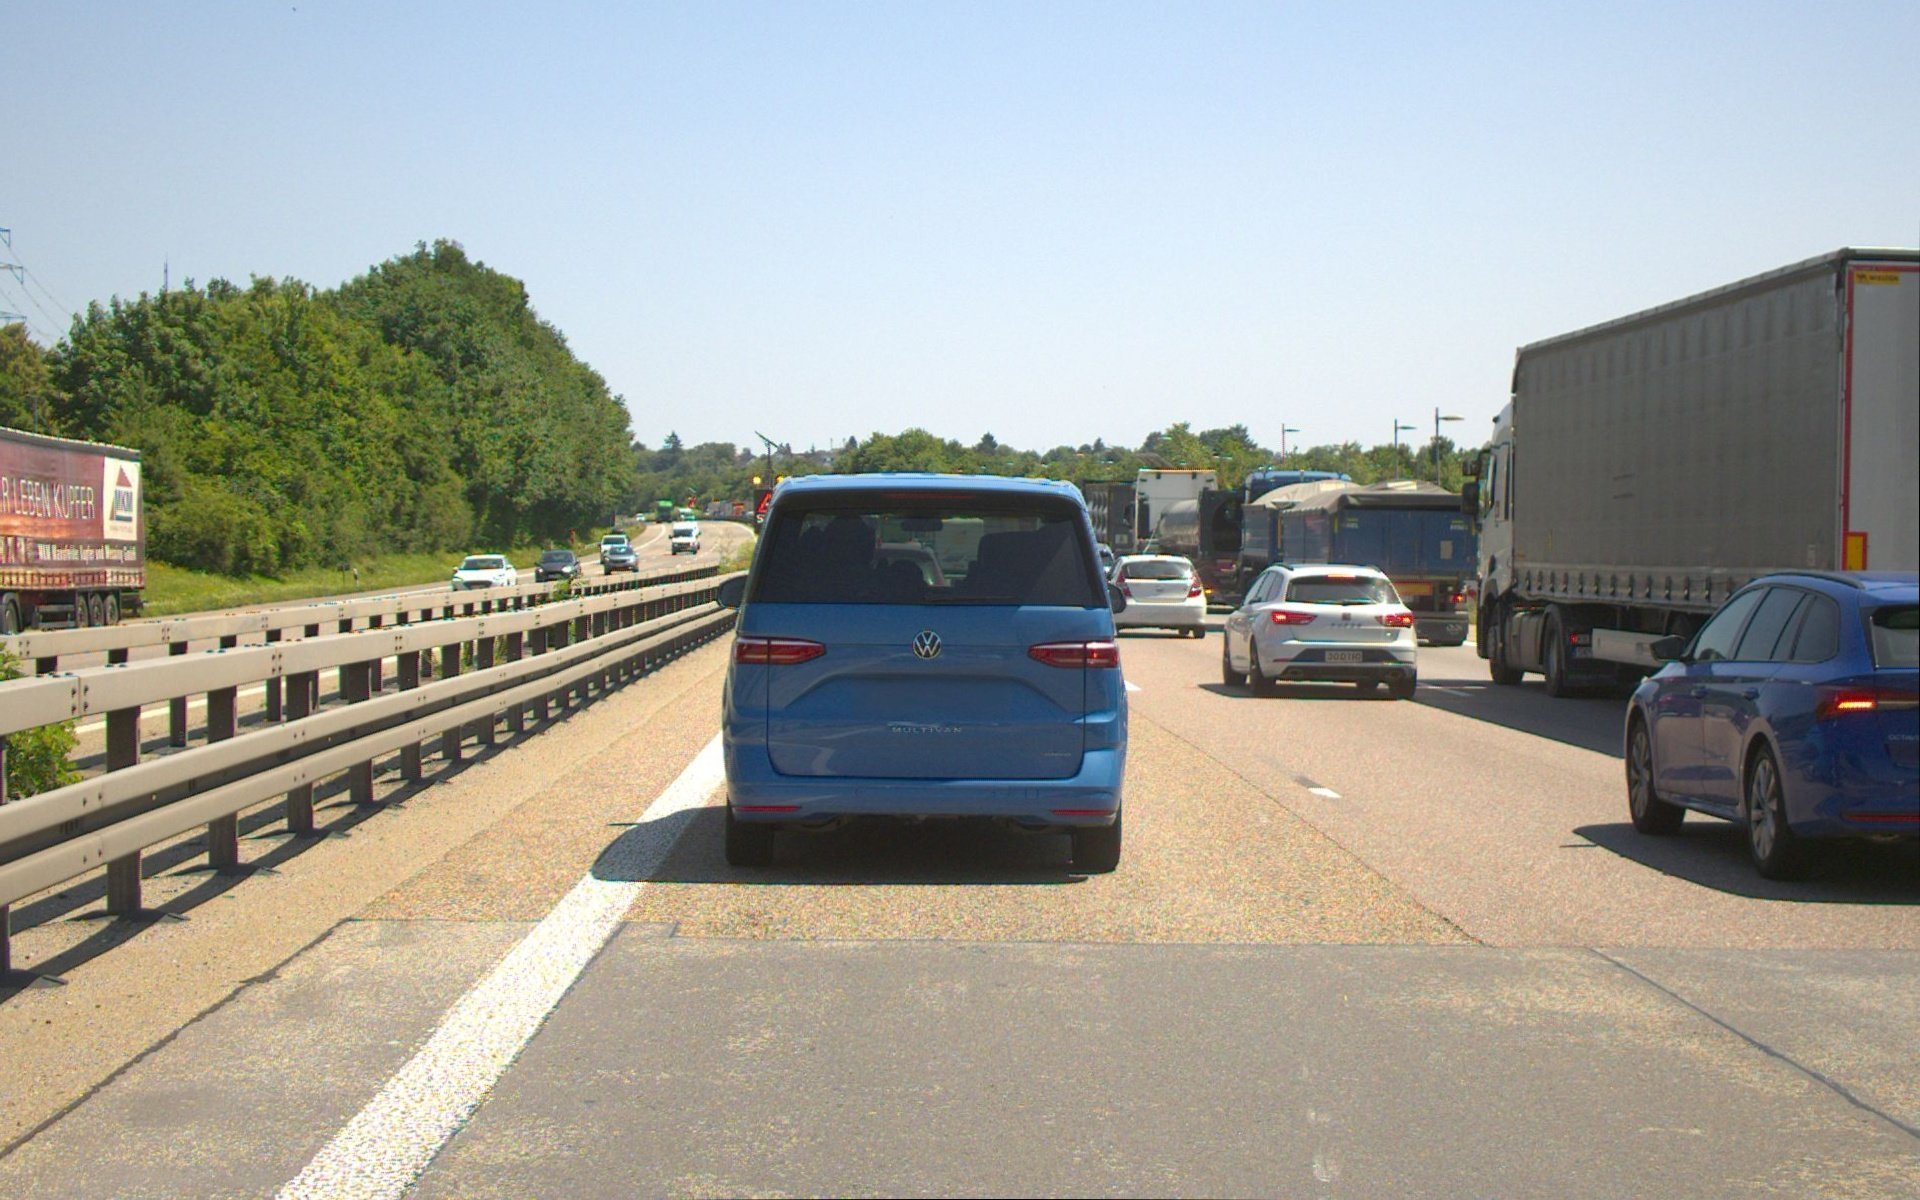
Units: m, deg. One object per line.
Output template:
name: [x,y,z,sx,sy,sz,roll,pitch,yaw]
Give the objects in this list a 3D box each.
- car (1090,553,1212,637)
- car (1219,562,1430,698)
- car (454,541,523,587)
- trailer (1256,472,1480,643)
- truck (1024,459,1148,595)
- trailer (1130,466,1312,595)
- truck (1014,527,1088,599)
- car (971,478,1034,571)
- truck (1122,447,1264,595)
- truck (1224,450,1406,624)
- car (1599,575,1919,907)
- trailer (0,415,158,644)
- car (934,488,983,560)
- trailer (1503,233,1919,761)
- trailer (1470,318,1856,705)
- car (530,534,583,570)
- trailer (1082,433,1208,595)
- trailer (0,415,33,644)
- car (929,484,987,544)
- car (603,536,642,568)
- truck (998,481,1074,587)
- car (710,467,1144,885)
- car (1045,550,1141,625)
car: [3.459,-0.098,62.836,1.840,1.449,4.000,1,0,-2]
car: [3.966,0.288,37.960,1.867,1.356,4.000,1,1,0]
car: [-15.421,-1.167,112.594,1.850,1.462,4.305,-1,0,-3]
trailer: [7.279,-0.857,62.557,2.743,2.827,9.116,1,2,-1]
truck: [5.029,-2.870,140.828,3.621,5.195,15.691,1,0,-3]
trailer: [6.778,-1.732,91.988,3.646,3.068,15.772,1,0,0]
truck: [2.404,-0.985,92.043,1.725,1.851,4.000,1,0,-2]
car: [2.450,-4.391,201.866,3.218,5.239,8.144,1,0,-2]
truck: [6.746,-2.248,100.805,3.626,4.080,7.524,1,0,1]
truck: [7.129,-1.326,69.997,2.743,3.300,7.133,1,2,-1]
car: [4.515,0.620,17.246,1.706,1.436,4.428,1,0,-1]
trailer: [-18.095,-1.313,64.767,2.763,3.962,14.683,-1,1,-1]
car: [-0.162,-5.673,259.796,3.218,5.239,8.145,1,0,-2]
trailer: [7.977,-0.883,33.199,2.962,4.035,13.753,1,1,-1]
trailer: [7.869,-0.997,39.358,2.924,4.030,6.411,1,1,-1]
car: [-16.917,-2.000,144.264,1.876,1.441,4.145,-1,0,-2]
trailer: [6.180,-2.795,117.094,3.646,5.119,13.075,1,0,1]
trailer: [-17.939,-1.168,58.344,2.757,3.962,6.132,-1,1,-1]
car: [-0.131,-4.054,163.299,2.550,2.708,5.622,1,0,-2]
car: [-17.842,-2.531,181.769,1.773,1.625,3.951,1,0,-2]
truck: [3.628,-3.122,166.982,3.068,4.903,10.691,1,0,-2]
car: [-0.146,0.332,17.417,1.901,1.831,4.000,1,0,0]
car: [2.841,-0.276,74.186,1.781,1.519,4.000,1,0,-2]
